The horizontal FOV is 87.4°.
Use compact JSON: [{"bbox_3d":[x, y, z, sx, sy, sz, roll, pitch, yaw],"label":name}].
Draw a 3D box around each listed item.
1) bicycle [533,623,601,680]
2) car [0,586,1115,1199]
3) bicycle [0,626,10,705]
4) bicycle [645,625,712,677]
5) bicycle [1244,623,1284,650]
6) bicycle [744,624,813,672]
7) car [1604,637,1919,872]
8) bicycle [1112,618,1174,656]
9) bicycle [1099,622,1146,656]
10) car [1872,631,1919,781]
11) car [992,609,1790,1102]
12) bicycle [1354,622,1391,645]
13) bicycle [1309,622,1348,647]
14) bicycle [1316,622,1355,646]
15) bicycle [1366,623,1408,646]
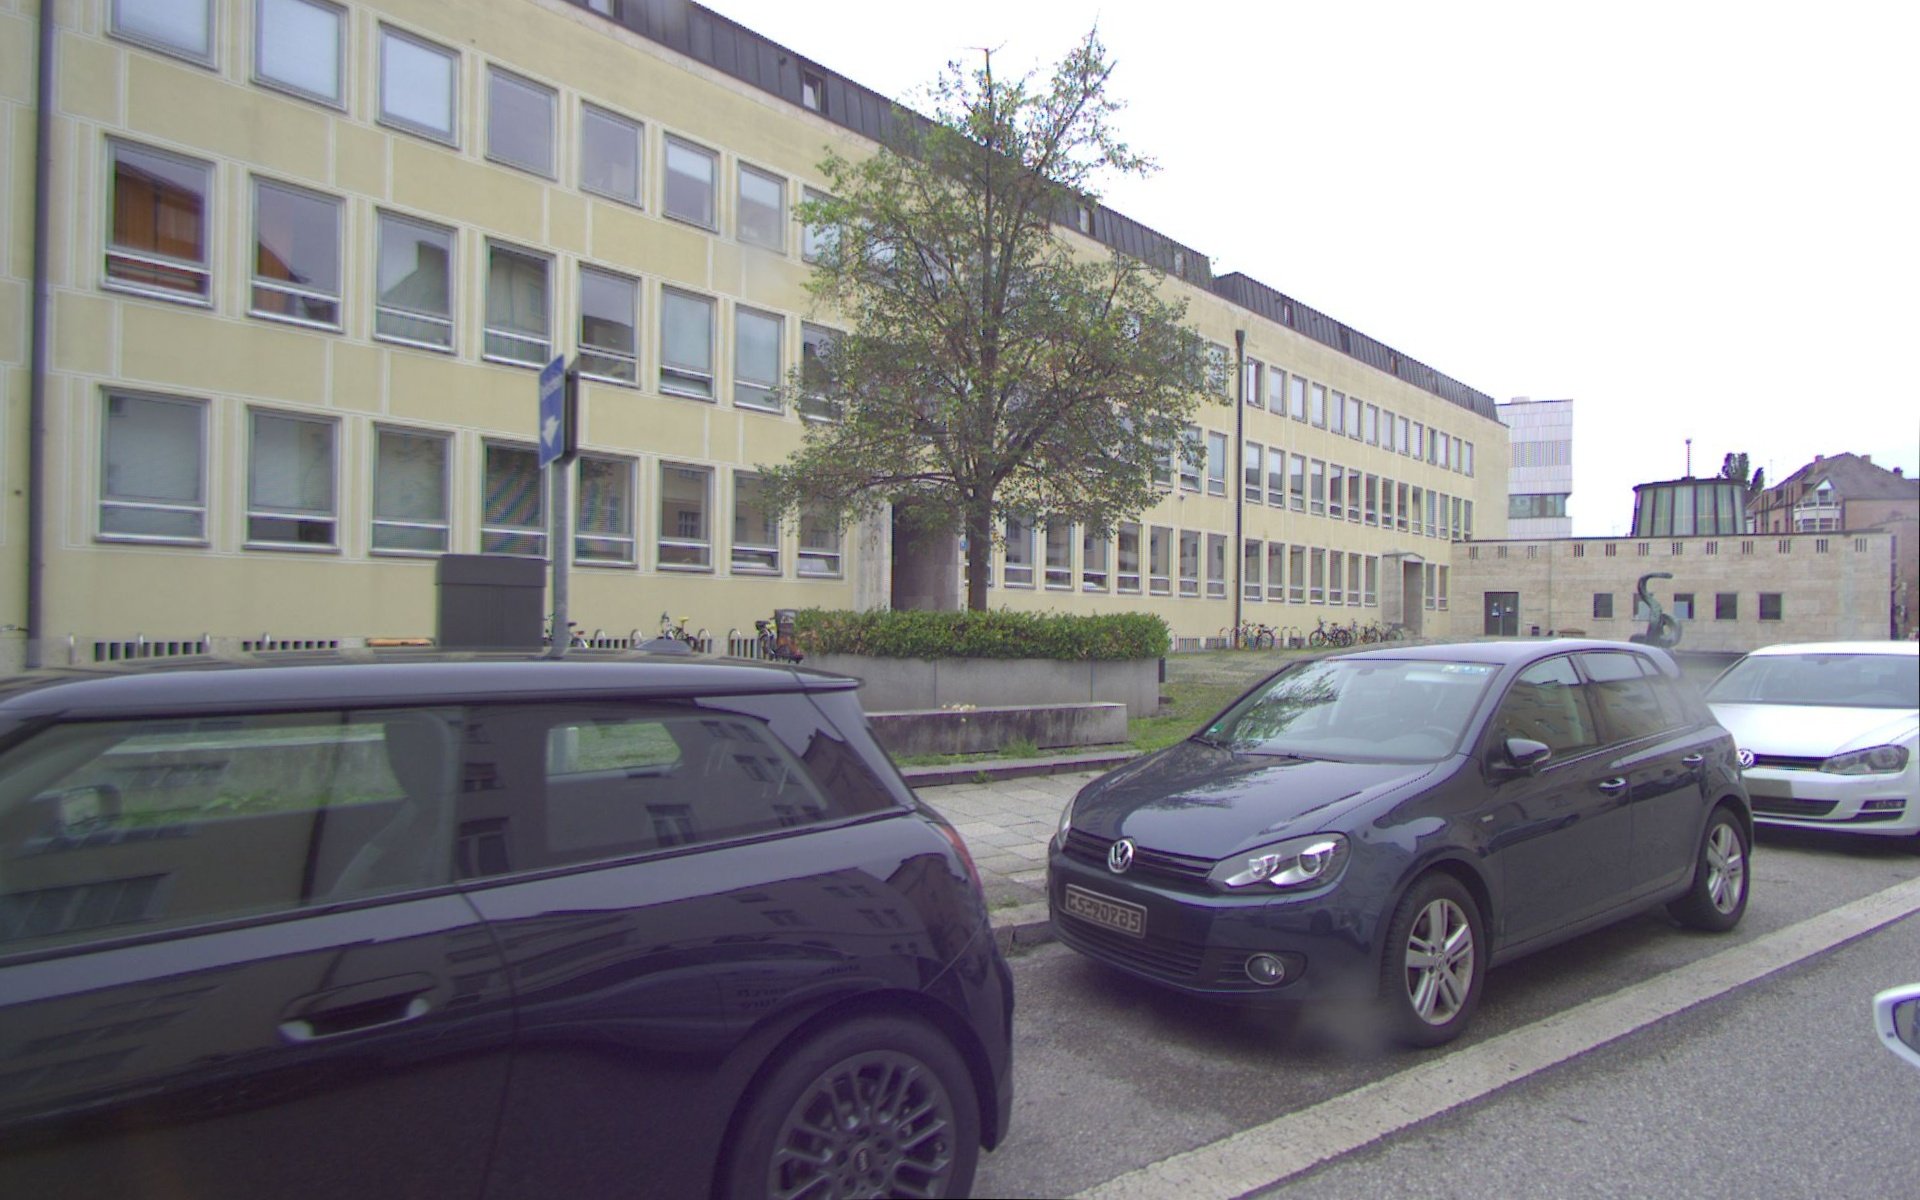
[{"bbox_3d":[-7.333,0.946,18.711,1.585,0.957,0.501,2,1,42],"label":"bicycle"},{"bbox_3d":[-1.641,0.764,2.200,3.776,1.514,1.623,1,-2,-31],"label":"car"},{"bbox_3d":[-12.786,0.845,13.187,0.411,0.957,1.394,1,1,-42],"label":"bicycle"},{"bbox_3d":[-5.683,1.006,20.245,1.585,0.957,0.501,2,1,42],"label":"bicycle"},{"bbox_3d":[11.316,1.355,37.409,1.391,0.957,0.412,2,1,43],"label":"bicycle"},{"bbox_3d":[-3.955,1.026,21.861,1.583,0.957,0.501,2,1,36],"label":"bicycle"},{"bbox_3d":[7.186,1.036,8.125,4.249,1.441,1.731,1,-4,-34],"label":"car"},{"bbox_3d":[5.784,1.155,31.830,1.825,1.110,0.698,2,1,43],"label":"bicycle"},{"bbox_3d":[4.934,1.181,30.587,1.391,0.957,0.412,2,1,42],"label":"bicycle"},{"bbox_3d":[11.677,1.073,10.868,4.229,1.514,1.622,1,-3,-33],"label":"car"},{"bbox_3d":[2.279,0.828,4.915,4.057,1.514,1.621,1,0,-33],"label":"car"},{"bbox_3d":[18.121,1.468,44.166,1.455,0.957,0.412,2,1,43],"label":"bicycle"},{"bbox_3d":[15.206,1.401,41.455,1.455,0.957,0.412,2,1,43],"label":"bicycle"},{"bbox_3d":[15.724,1.407,42.109,1.455,0.957,0.412,2,1,43],"label":"bicycle"},{"bbox_3d":[19.165,1.544,45.118,1.688,0.957,0.412,2,1,43],"label":"bicycle"}]
